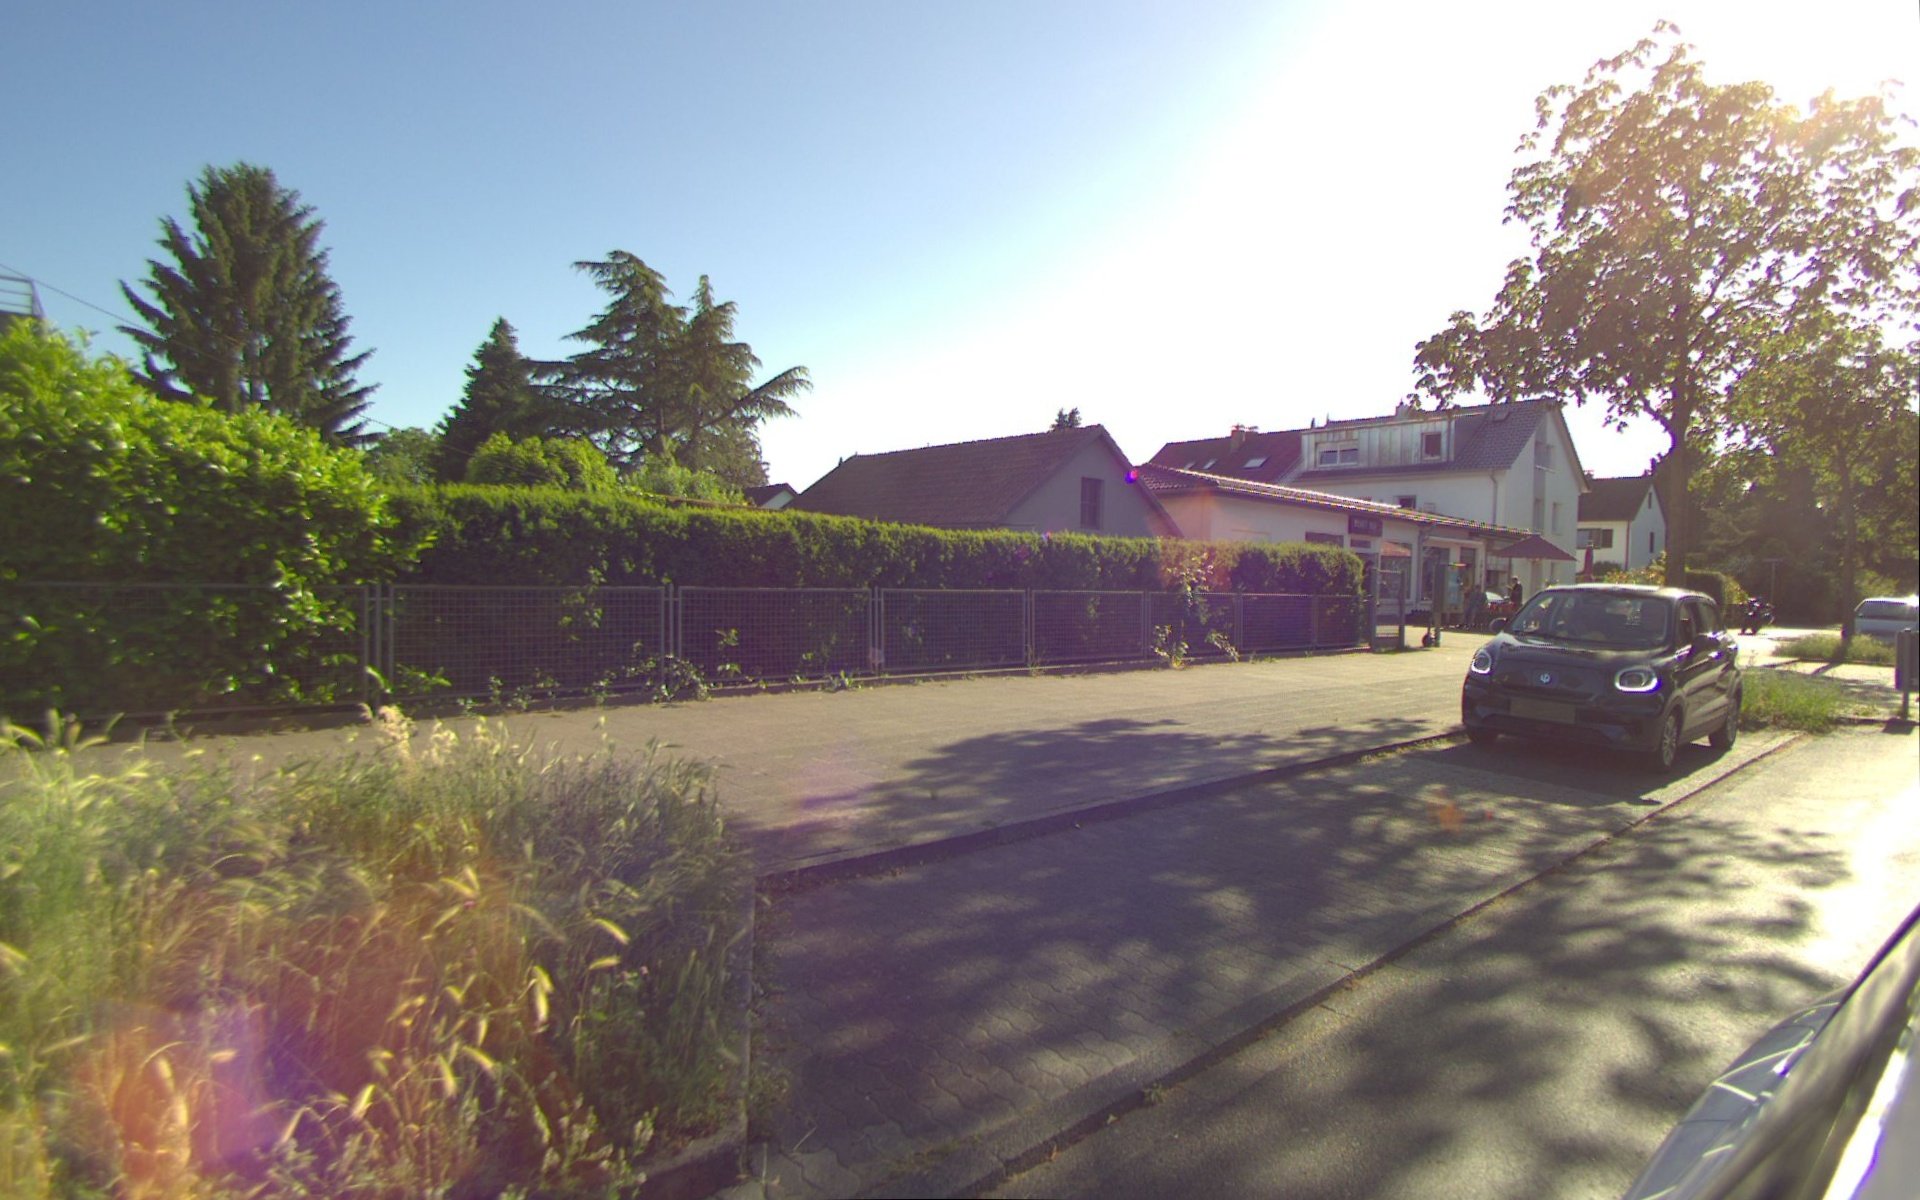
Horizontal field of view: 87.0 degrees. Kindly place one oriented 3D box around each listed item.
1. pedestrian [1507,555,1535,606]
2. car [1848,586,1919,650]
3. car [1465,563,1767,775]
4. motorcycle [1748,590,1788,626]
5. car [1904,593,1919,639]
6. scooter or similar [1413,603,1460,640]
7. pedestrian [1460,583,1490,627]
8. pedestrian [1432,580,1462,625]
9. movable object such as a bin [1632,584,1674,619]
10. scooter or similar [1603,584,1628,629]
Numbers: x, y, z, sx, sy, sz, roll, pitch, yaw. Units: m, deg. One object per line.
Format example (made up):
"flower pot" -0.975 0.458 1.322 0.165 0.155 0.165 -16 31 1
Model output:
"pedestrian" 20.329 -0.698 36.667 0.722 1.831 0.671 0 1 -42
"car" 26.001 0.472 27.836 3.788 1.596 1.733 0 3 -40
"car" 6.357 0.518 9.668 3.539 1.593 1.496 0 4 -43
"motorcycle" 29.652 0.265 37.138 2.306 1.270 0.837 -1 1 -43
"car" 33.606 0.583 34.522 3.792 1.500 1.731 1 2 -43
"scooter or similar" 10.360 0.464 21.981 1.208 0.725 0.450 -1 6 -43
"pedestrian" 15.631 0.143 30.723 0.564 1.338 0.640 0 1 -42
"pedestrian" 15.140 0.071 31.441 0.564 1.338 0.640 0 2 -42
"movable object such as a bin" 27.872 0.046 40.698 0.913 1.309 1.171 0 3 -43
"scooter or similar" 19.704 0.199 30.404 0.502 1.311 0.454 4 3 44
